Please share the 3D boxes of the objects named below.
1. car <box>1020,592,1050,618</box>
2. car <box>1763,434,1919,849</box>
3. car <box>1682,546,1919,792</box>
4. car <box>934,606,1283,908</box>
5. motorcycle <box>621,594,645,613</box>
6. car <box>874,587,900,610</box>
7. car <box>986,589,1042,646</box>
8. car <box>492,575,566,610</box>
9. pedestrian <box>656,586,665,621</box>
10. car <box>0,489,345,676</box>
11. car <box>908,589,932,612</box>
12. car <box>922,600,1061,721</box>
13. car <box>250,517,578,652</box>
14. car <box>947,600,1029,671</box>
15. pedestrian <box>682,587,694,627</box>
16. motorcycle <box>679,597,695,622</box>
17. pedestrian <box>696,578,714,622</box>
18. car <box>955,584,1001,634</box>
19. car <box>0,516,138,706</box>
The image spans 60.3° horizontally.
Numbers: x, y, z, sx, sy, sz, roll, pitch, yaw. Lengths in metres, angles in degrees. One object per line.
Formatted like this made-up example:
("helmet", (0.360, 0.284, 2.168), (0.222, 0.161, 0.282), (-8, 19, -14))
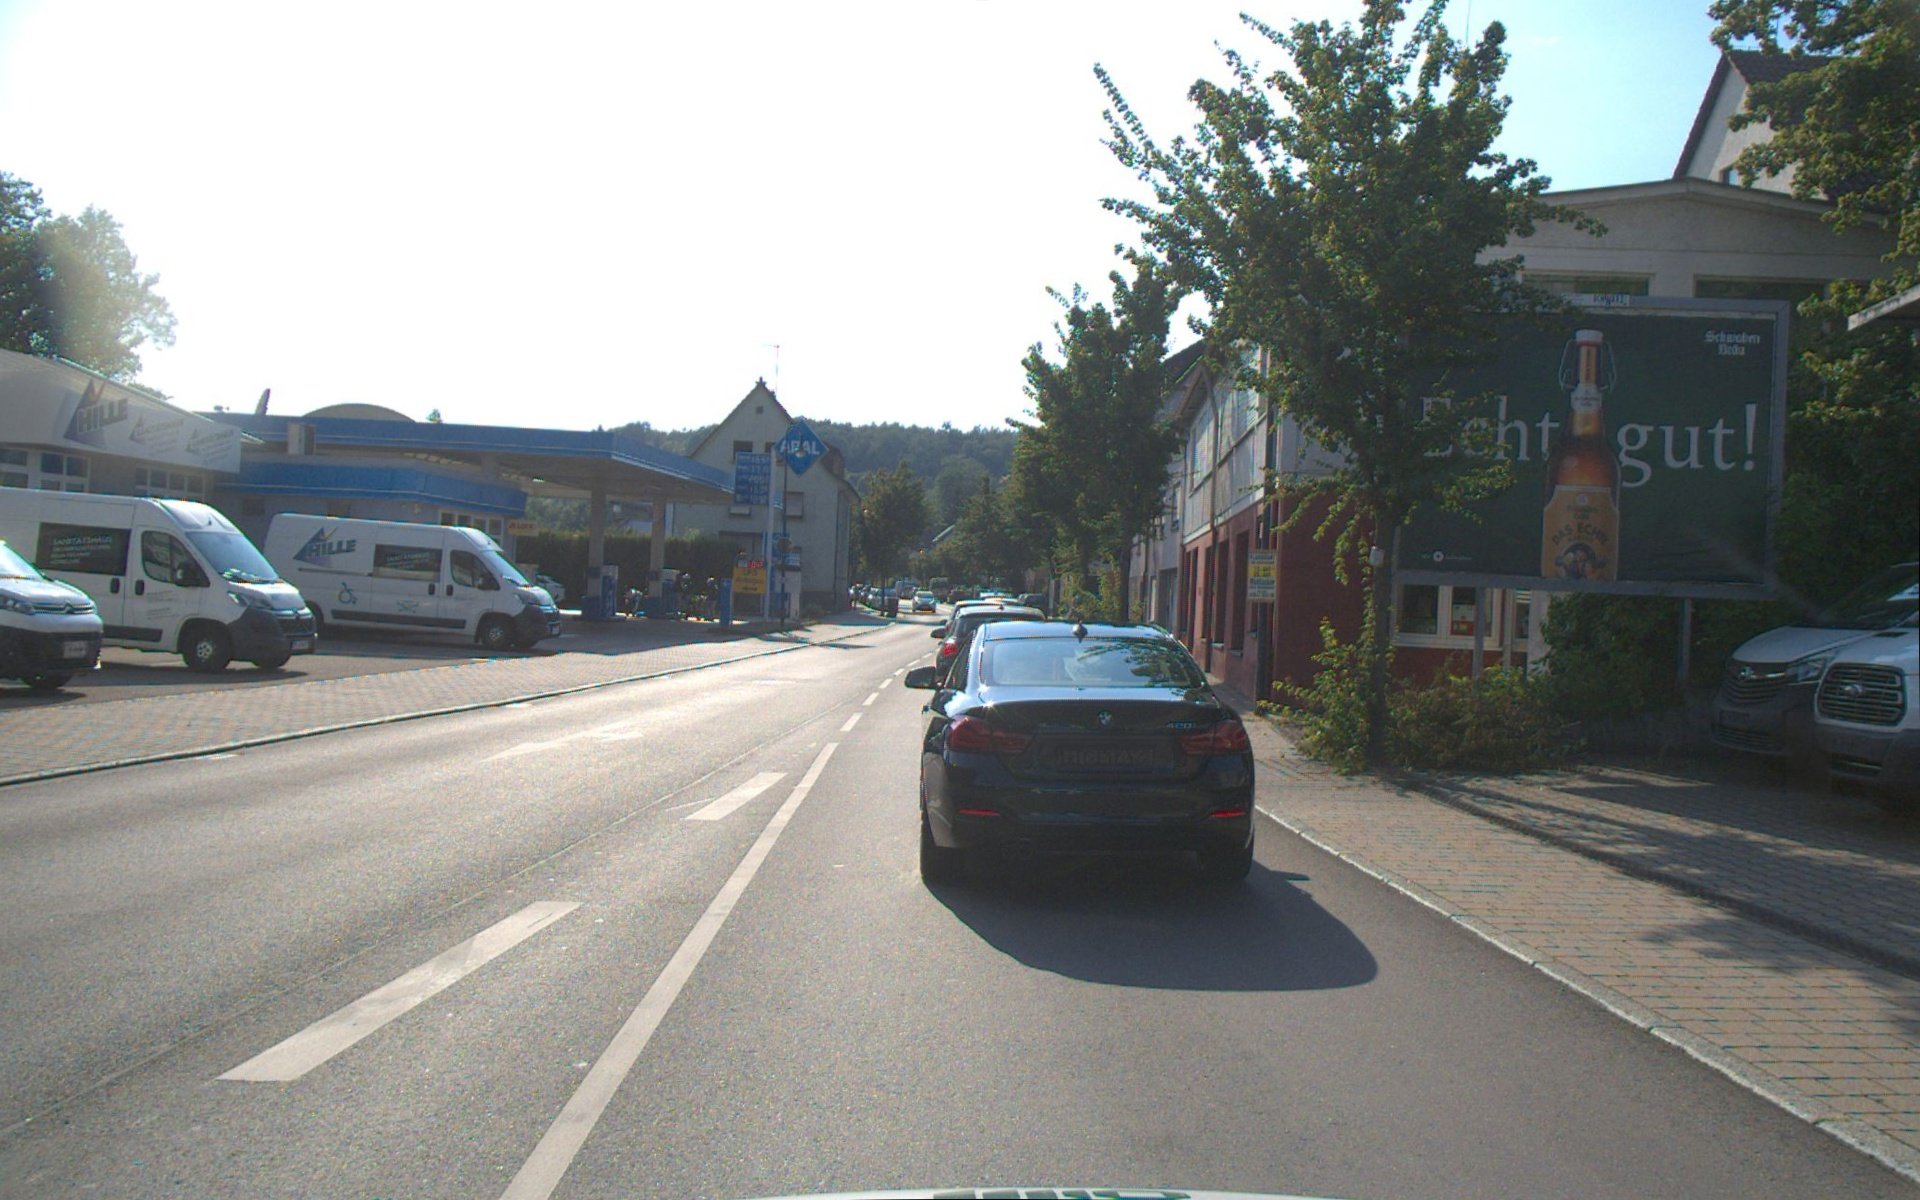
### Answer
("car", (4.526, 0.279, 100.224), (1.564, 1.511, 3.474), (2, 0, -1))
("car", (8.862, 0.319, 11.134), (5.922, 2.560, 2.043), (1, 0, -2))
("car", (8.215, 0.574, 13.967), (3.527, 1.927, 1.586), (1, 0, -3))
("car", (0.686, 0.769, 10.132), (1.665, 1.393, 4.261), (1, 0, -1))
("motorcycle", (-13.002, 0.119, 65.762), (0.449, 0.742, 1.475), (1, 0, 7))
("car", (-4.941, -0.100, 112.633), (1.564, 1.511, 3.474), (2, 0, -1))
("car", (1.608, 0.513, 50.524), (1.559, 1.628, 3.893), (1, 0, 0))
("car", (-19.213, -0.331, 73.689), (3.101, 1.452, 1.432), (1, 0, -18))
("pedestrian", (-11.718, 0.134, 64.617), (0.281, 1.390, 0.262), (1, 0, -4))
("car", (-12.642, -0.311, 24.992), (5.795, 2.523, 2.195), (2, 0, 5))
("car", (-2.834, 0.024, 116.737), (1.564, 1.511, 3.474), (2, 0, -1))
("car", (0.485, 0.773, 22.881), (1.735, 1.482, 3.517), (2, 0, 3))
("car", (-11.370, -0.330, 34.761), (6.032, 2.487, 2.250), (2, 0, 1))
("car", (0.649, 0.749, 36.805), (1.717, 1.438, 3.422), (1, 0, 2))
("pedestrian", (-10.814, 0.275, 65.759), (0.399, 1.574, 0.432), (1, 0, -3))
("motorcycle", (-10.761, 0.382, 65.289), (0.356, 0.960, 1.695), (1, 0, -1))
("pedestrian", (-10.141, 0.000, 65.801), (0.598, 1.699, 0.442), (1, 0, -3))
("car", (0.697, 0.309, 62.901), (1.569, 1.798, 3.412), (1, 0, 3))
("car", (-12.379, 0.020, 18.987), (4.872, 2.034, 1.936), (2, 0, 3))
